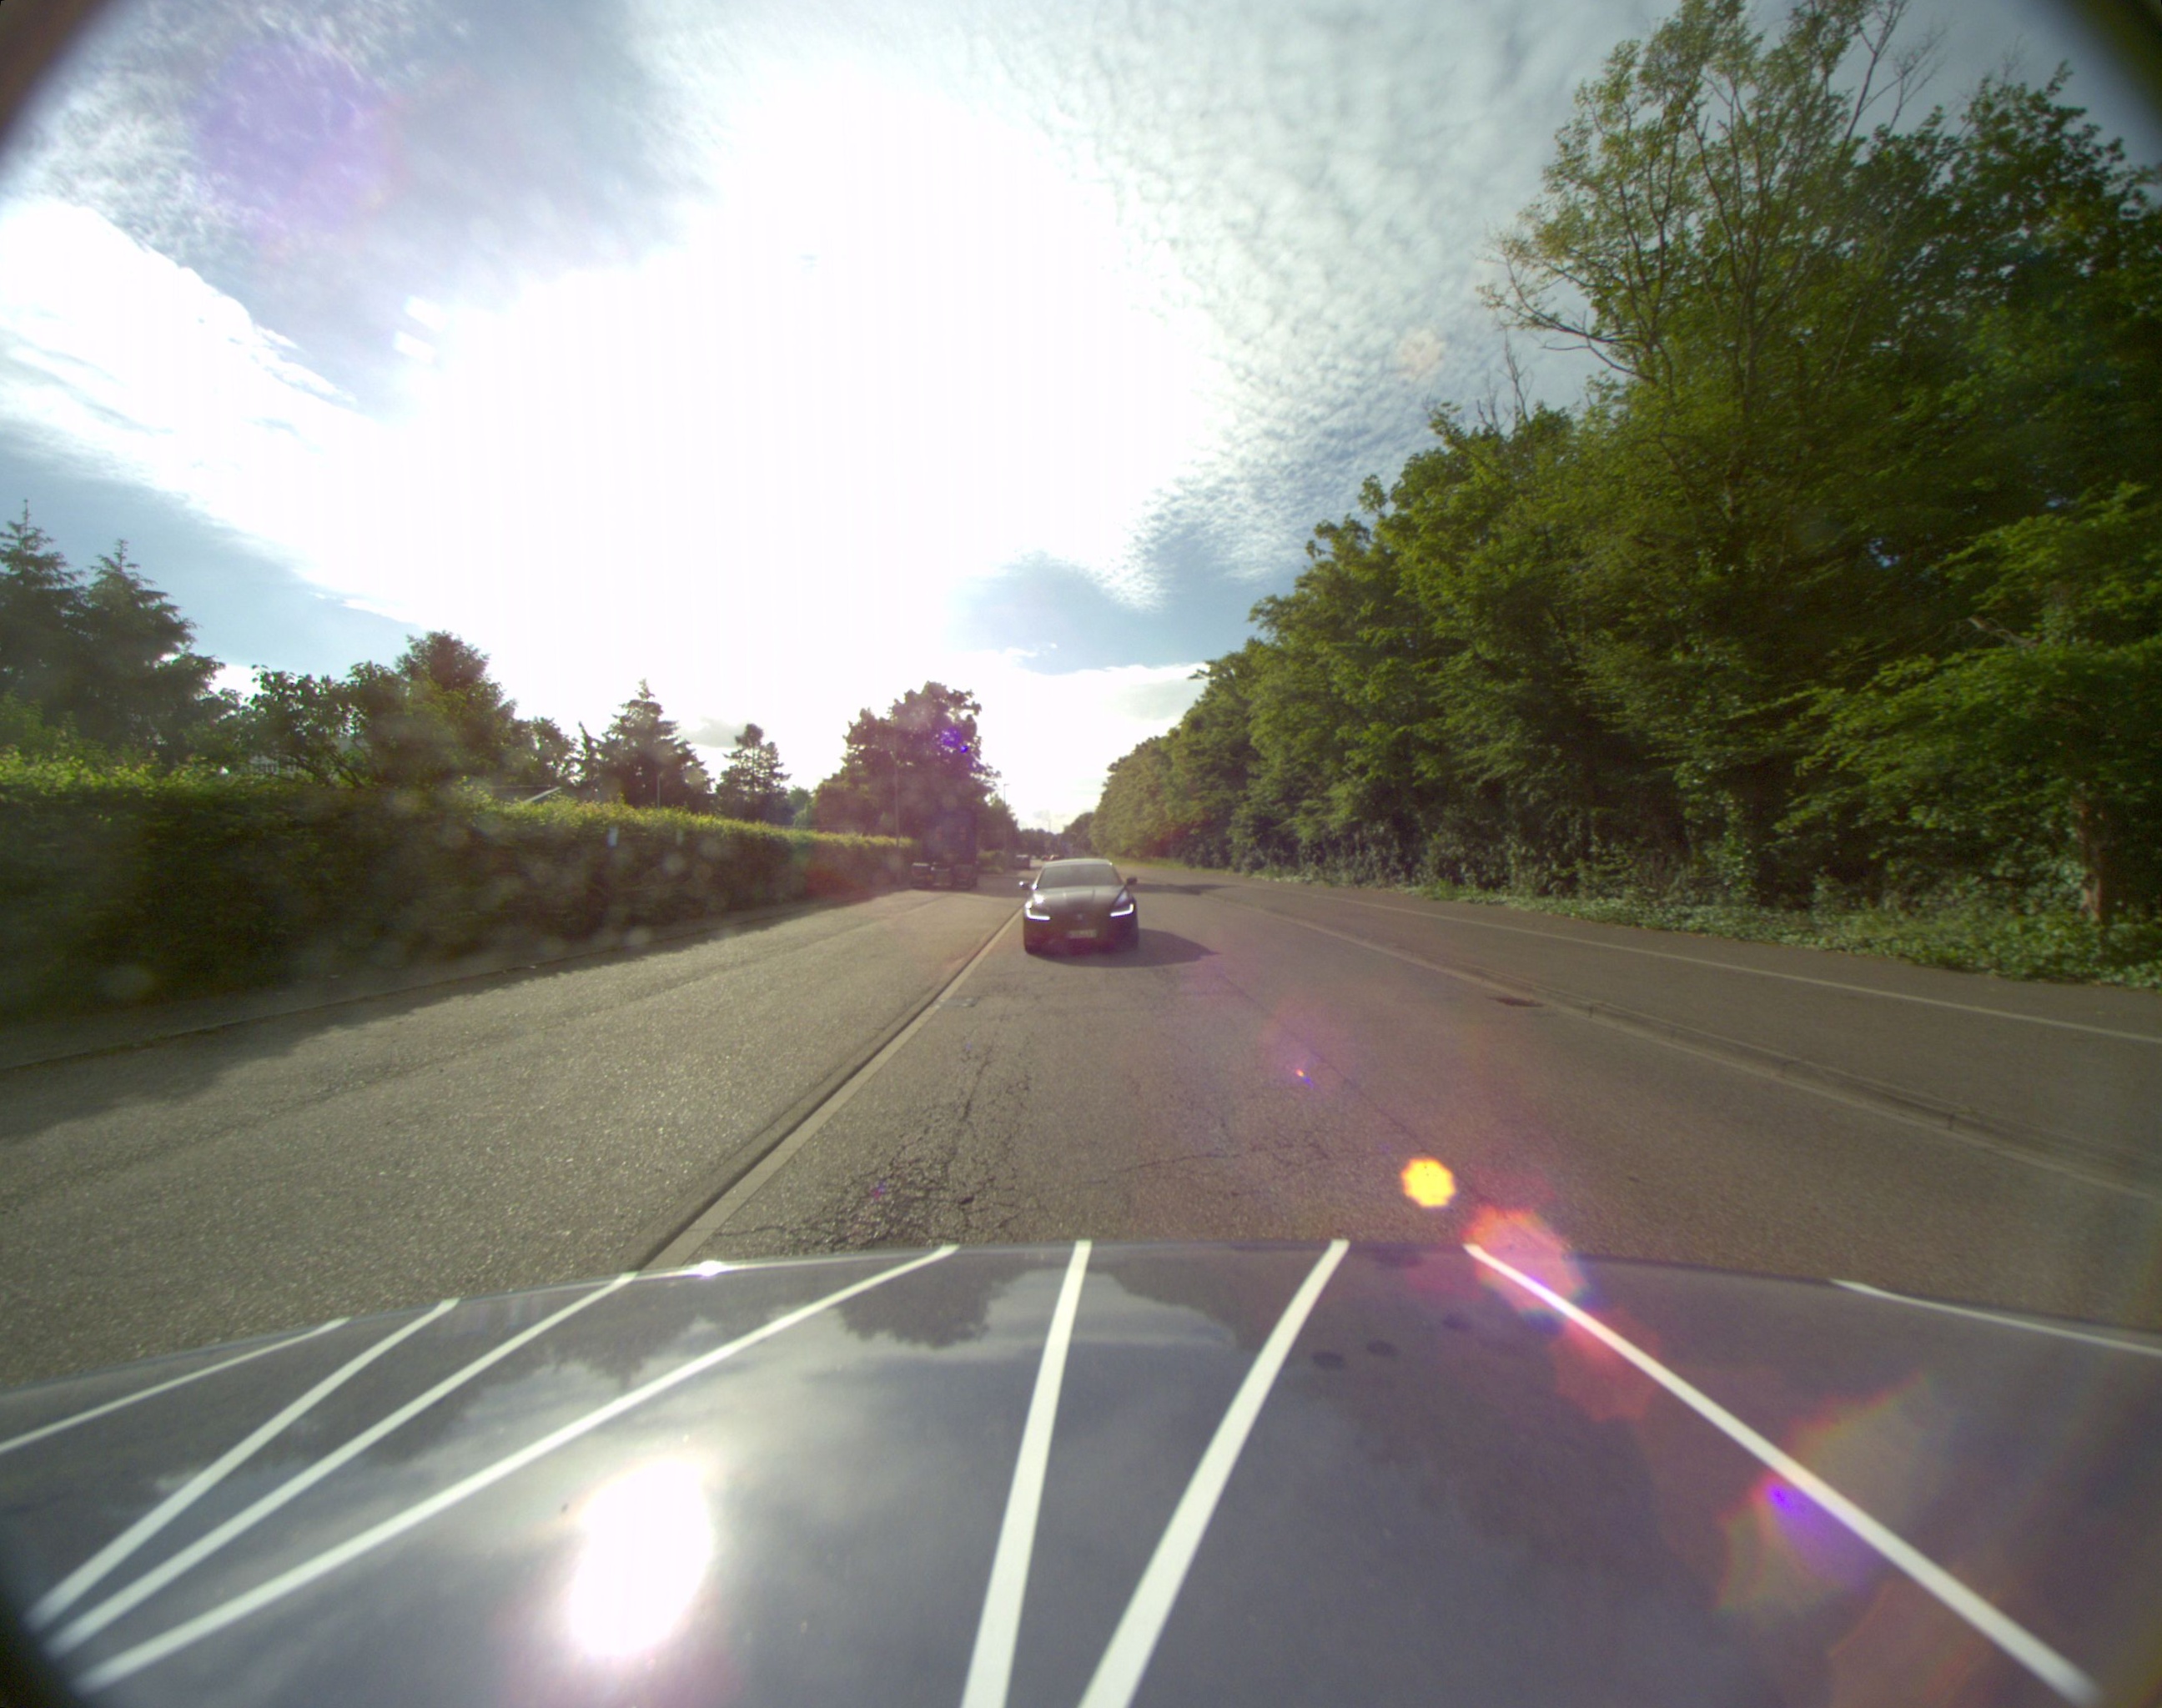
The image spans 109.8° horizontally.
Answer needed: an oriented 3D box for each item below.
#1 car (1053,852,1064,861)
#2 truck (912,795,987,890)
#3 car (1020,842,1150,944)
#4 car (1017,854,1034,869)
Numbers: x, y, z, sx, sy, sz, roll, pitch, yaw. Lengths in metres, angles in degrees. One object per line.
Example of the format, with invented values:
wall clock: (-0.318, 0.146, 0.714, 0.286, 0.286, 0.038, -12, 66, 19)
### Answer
car: (-3.888, 0.389, 128.220, 1.751, 1.380, 3.860, 1, 0, -3)
truck: (-5.962, -0.492, 35.398, 2.603, 3.935, 6.281, 2, 0, -4)
car: (0.083, 0.568, 13.886, 1.936, 1.501, 4.679, -1, 1, 0)
car: (-5.940, 0.795, 81.591, 1.751, 1.561, 3.860, 1, 0, -3)
